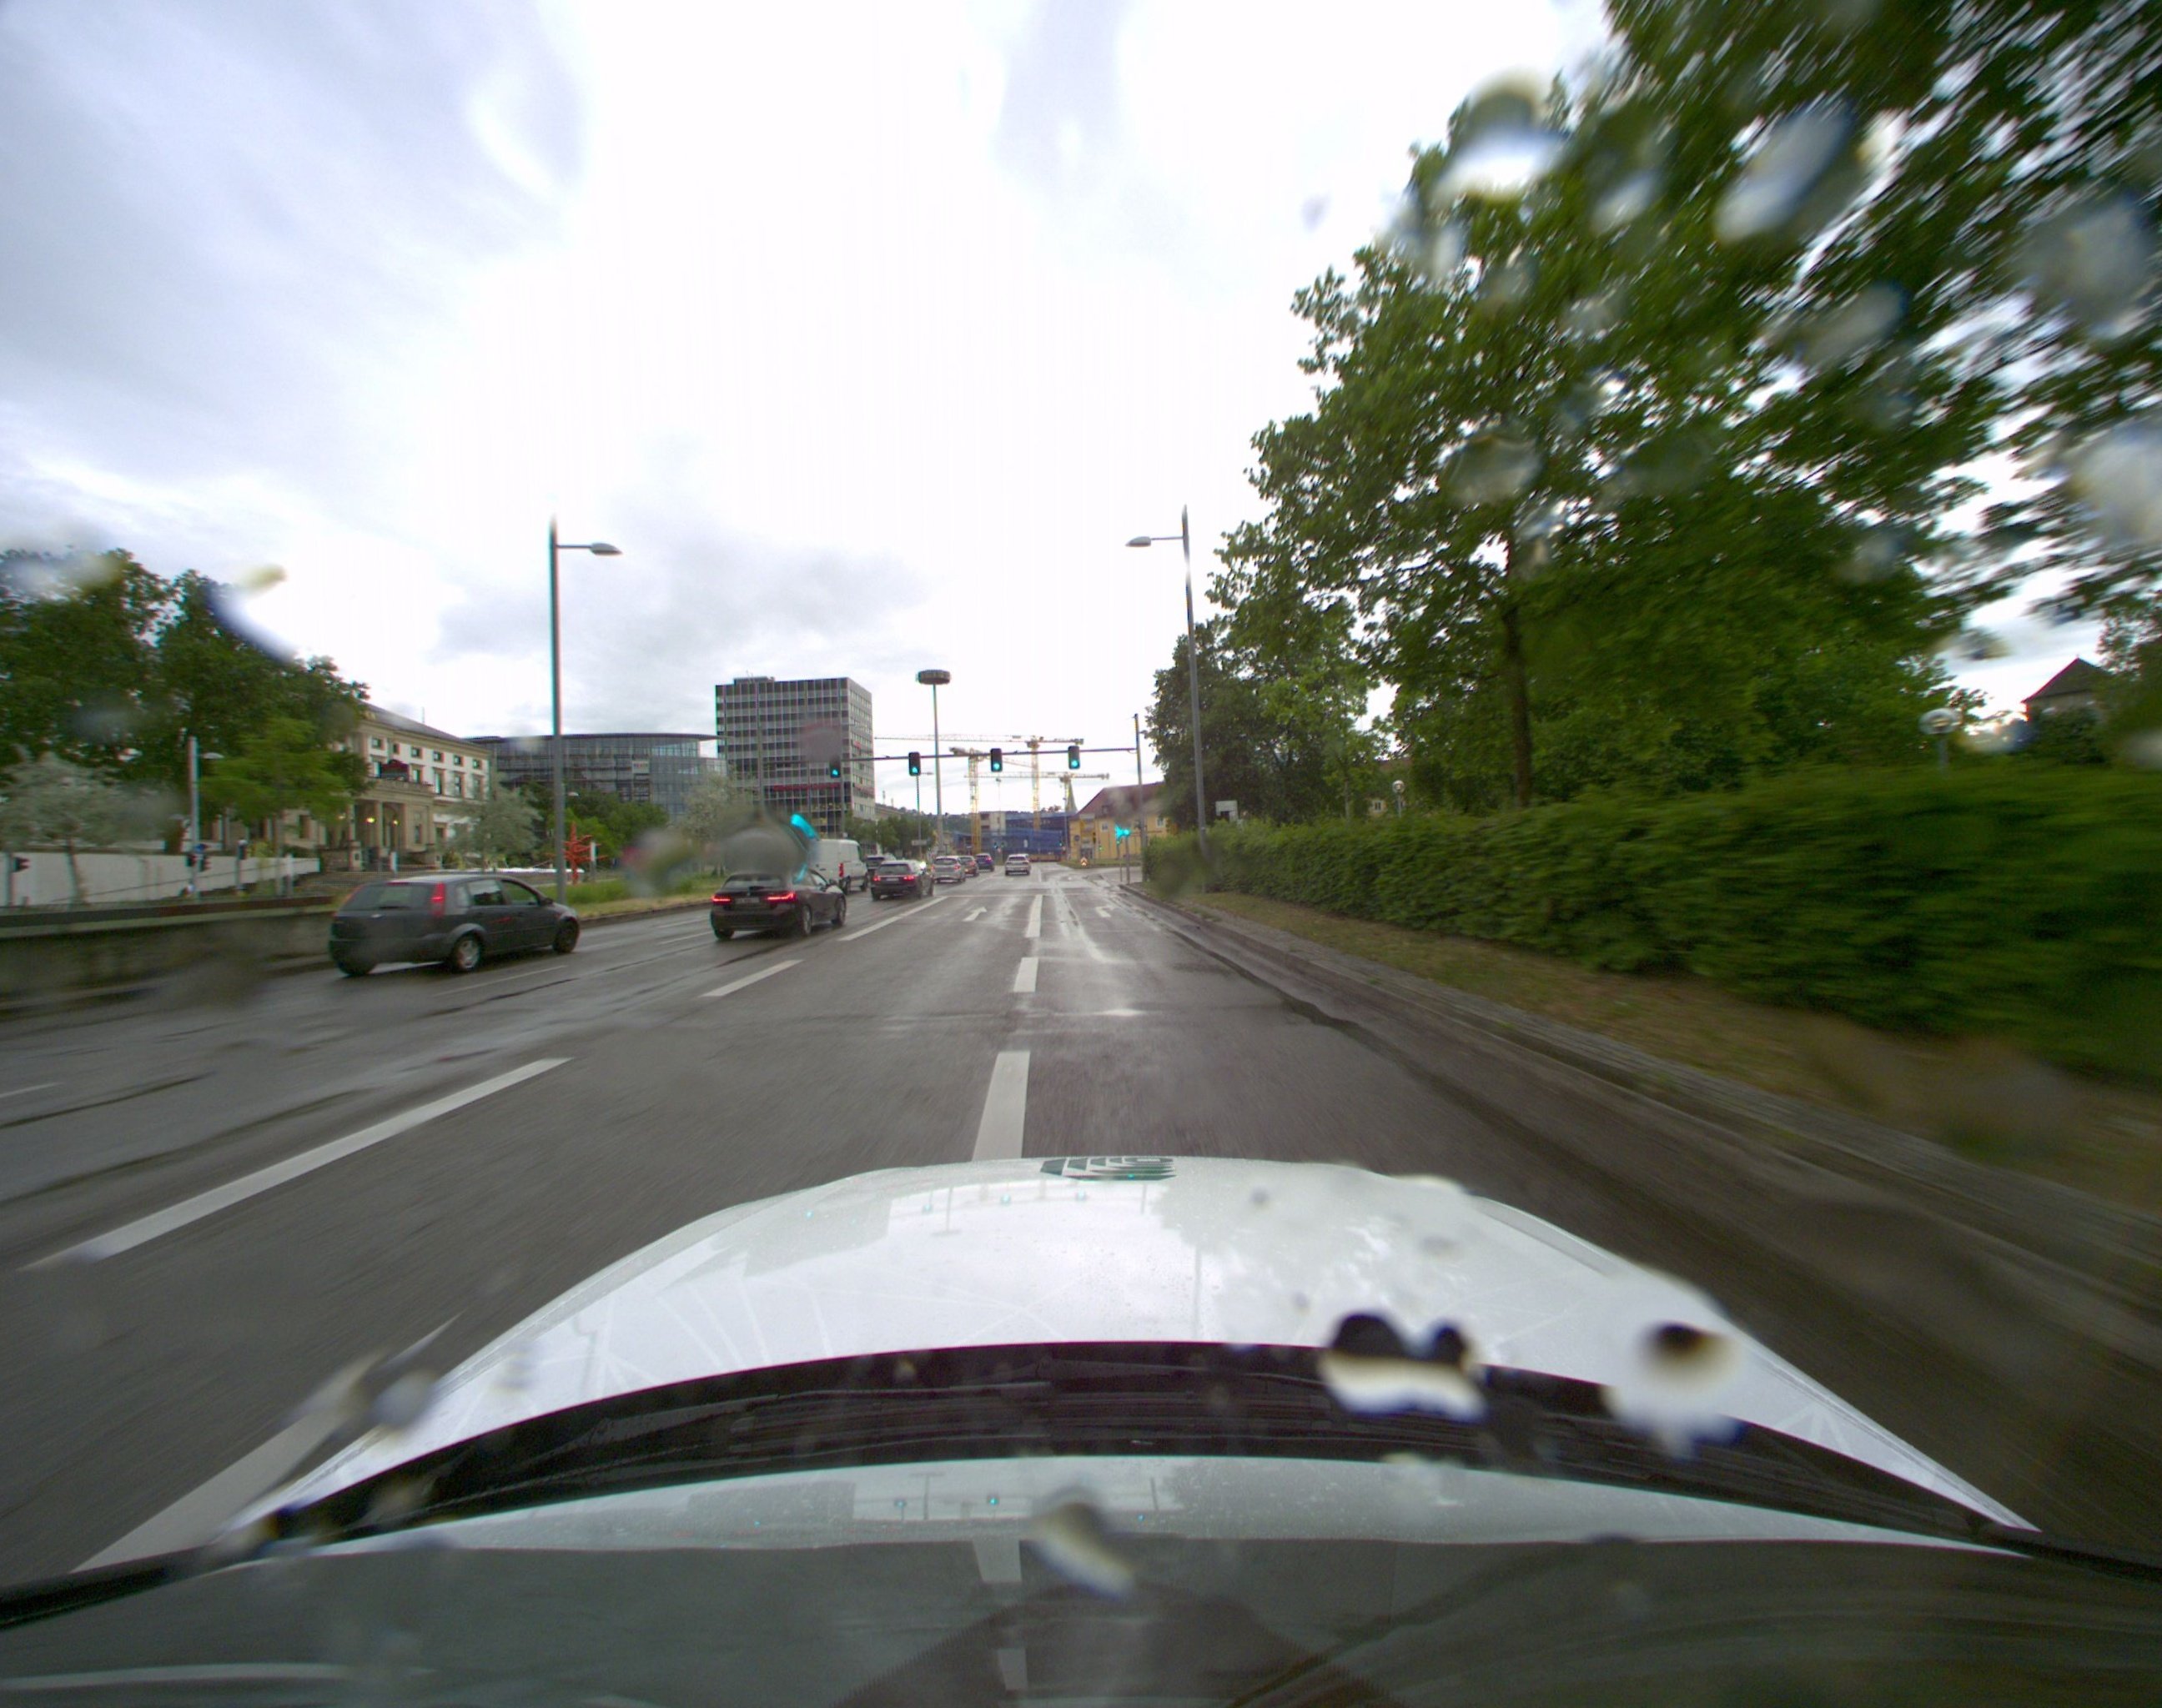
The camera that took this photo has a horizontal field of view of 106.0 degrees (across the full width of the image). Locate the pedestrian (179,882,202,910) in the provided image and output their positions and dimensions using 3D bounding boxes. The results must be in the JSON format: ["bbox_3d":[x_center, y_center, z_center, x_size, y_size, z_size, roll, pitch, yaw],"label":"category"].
[{"bbox_3d":[-46.286,2.180,42.323,0.489,1.423,0.634,-1,-2,5],"label":"pedestrian"}]

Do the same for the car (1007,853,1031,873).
[{"bbox_3d":[-4.400,0.648,57.777,1.439,1.359,2.412,-1,-2,1],"label":"car"}]

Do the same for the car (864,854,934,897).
[{"bbox_3d":[-6.770,0.795,30.549,1.824,1.495,3.398,-1,-2,0],"label":"car"}]

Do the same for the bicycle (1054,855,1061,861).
[{"bbox_3d":[-4.488,0.715,154.400,0.882,1.010,1.980,-1,-2,-17],"label":"bicycle"}]

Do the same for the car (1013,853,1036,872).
[{"bbox_3d":[-5.368,0.783,77.187,1.659,1.741,3.292,0,1,5],"label":"car"}]

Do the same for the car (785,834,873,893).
[{"bbox_3d":[-10.631,0.436,34.822,2.286,2.314,5.002,-1,-2,-2],"label":"car"}]

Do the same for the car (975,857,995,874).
[{"bbox_3d":[-8.283,1.013,70.381,1.489,1.369,3.030,-1,-2,-2],"label":"car"}]

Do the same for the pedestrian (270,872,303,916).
[{"bbox_3d":[-38.703,1.936,39.678,0.762,2.090,0.728,0,4,8],"label":"pedestrian"}]

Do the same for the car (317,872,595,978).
[{"bbox_3d":[-9.700,1.021,13.083,1.538,1.415,3.898,-1,-2,-2],"label":"car"}]

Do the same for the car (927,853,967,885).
[{"bbox_3d":[-7.440,0.848,45.503,1.877,1.653,3.451,-1,-2,-5],"label":"car"}]

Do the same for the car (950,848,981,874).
[{"bbox_3d":[-7.958,0.511,56.486,1.712,1.727,3.491,-1,-2,-2],"label":"car"}]

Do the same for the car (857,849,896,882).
[{"bbox_3d":[-10.963,0.629,43.855,1.461,1.706,3.136,-1,-2,-4],"label":"car"}]

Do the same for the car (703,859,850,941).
[{"bbox_3d":[-6.368,0.889,17.570,1.750,1.471,4.217,-1,0,-3],"label":"car"}]

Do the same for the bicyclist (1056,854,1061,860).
[{"bbox_3d":[-4.287,0.565,154.041,0.705,1.275,0.631,-1,-2,-18],"label":"bicyclist"}]
